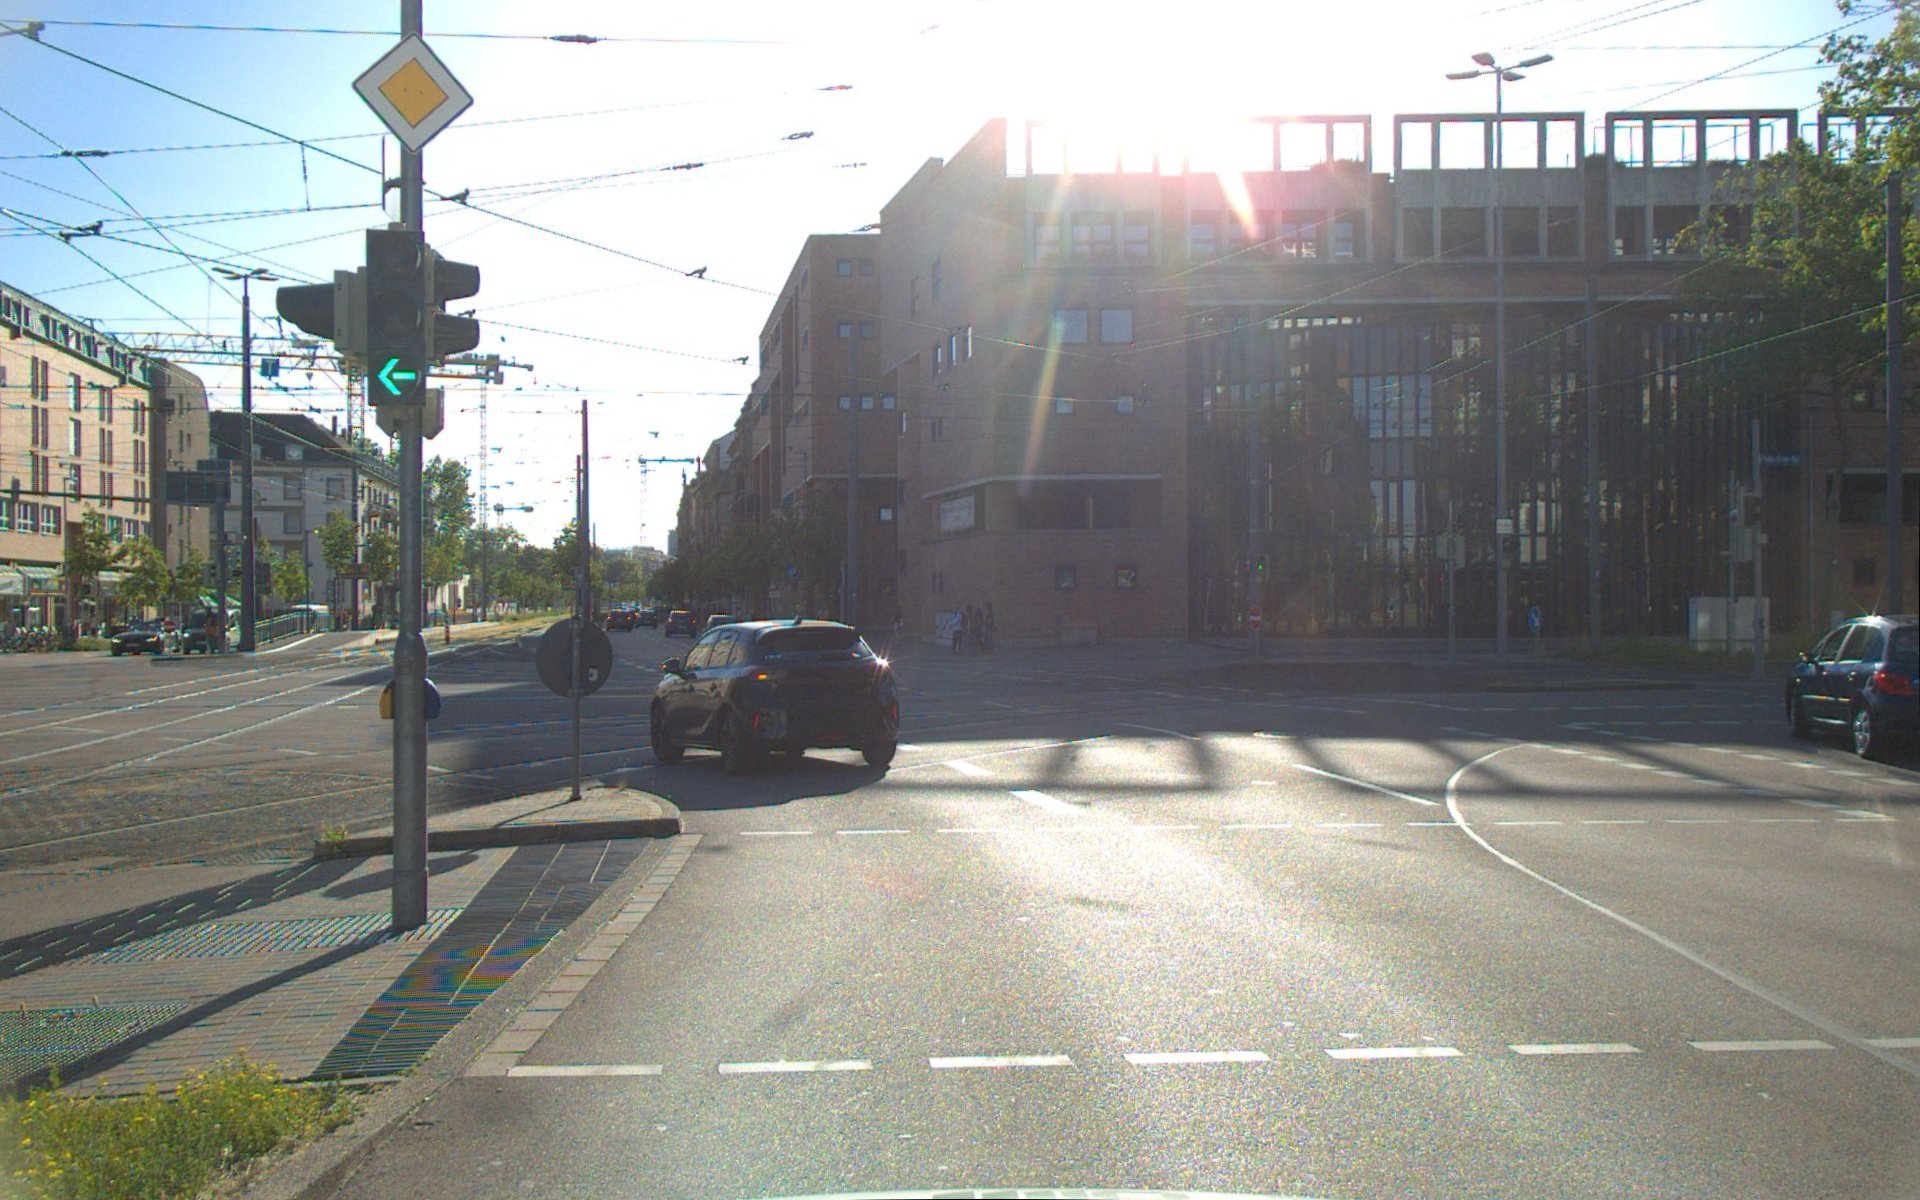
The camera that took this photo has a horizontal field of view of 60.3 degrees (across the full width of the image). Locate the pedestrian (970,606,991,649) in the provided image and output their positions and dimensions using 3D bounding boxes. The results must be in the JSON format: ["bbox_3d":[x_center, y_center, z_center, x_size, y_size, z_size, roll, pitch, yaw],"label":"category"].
[{"bbox_3d":[0.734,0.990,59.886,0.541,1.503,0.568,-1,0,-29],"label":"pedestrian"}]

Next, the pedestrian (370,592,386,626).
[{"bbox_3d":[-33.610,0.525,95.495,0.849,1.919,0.732,0,1,-22],"label":"pedestrian"}]

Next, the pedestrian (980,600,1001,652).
[{"bbox_3d":[1.079,0.919,59.064,0.563,1.817,0.546,-1,0,-19],"label":"pedestrian"}]

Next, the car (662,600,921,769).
[{"bbox_3d":[-1.849,0.790,17.136,1.649,1.528,3.664,1,0,-23],"label":"car"}]

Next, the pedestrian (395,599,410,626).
[{"bbox_3d":[-35.169,0.776,104.353,0.849,1.699,0.779,0,1,-22],"label":"pedestrian"}]

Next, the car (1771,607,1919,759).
[{"bbox_3d":[10.630,0.844,18.512,1.821,1.500,3.981,0,0,11],"label":"car"}]

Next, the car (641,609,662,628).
[{"bbox_3d":[-25.806,1.519,138.331,1.690,1.479,3.687,-1,0,-11],"label":"car"}]

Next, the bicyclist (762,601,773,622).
[{"bbox_3d":[-12.405,0.744,106.619,0.634,1.363,0.651,0,0,-10],"label":"bicyclist"}]

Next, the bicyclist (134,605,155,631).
[{"bbox_3d":[-43.295,0.954,87.846,0.796,1.401,0.922,-1,0,-13],"label":"bicyclist"}]

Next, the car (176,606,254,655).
[{"bbox_3d":[-30.483,1.203,67.788,1.805,1.868,4.099,-2,0,-8],"label":"car"}]

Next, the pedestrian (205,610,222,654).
[{"bbox_3d":[-27.301,1.165,60.488,0.573,1.604,0.642,0,-1,-25],"label":"pedestrian"}]

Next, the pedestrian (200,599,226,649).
[{"bbox_3d":[-26.413,0.855,58.502,0.708,1.757,0.593,-1,0,-11],"label":"pedestrian"}]

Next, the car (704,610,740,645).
[{"bbox_3d":[-10.584,1.197,73.362,1.531,1.481,3.424,0,0,-9],"label":"car"}]

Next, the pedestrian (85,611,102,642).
[{"bbox_3d":[-51.721,1.577,98.716,0.703,1.795,0.564,-1,0,-9],"label":"pedestrian"}]

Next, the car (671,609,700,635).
[{"bbox_3d":[-16.763,1.339,100.807,1.641,1.479,3.687,-1,0,-11],"label":"car"}]

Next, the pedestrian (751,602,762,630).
[{"bbox_3d":[-13.414,1.061,109.149,0.629,1.817,0.687,-1,0,-11],"label":"pedestrian"}]

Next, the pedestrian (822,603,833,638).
[{"bbox_3d":[-6.903,1.055,85.942,0.537,1.817,0.572,0,2,-9],"label":"pedestrian"}]

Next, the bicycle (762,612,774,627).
[{"bbox_3d":[-12.409,1.270,106.637,0.636,0.920,2.340,0,0,-10],"label":"bicycle"}]

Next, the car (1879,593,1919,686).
[{"bbox_3d":[16.969,0.631,26.645,3.949,1.465,1.689,0,-1,-22],"label":"car"}]

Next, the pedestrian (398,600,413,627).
[{"bbox_3d":[-34.768,0.839,103.676,0.849,1.699,0.732,0,1,-22],"label":"pedestrian"}]

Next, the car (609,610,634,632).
[{"bbox_3d":[-24.191,1.476,118.232,1.690,1.479,3.687,-1,0,-11],"label":"car"}]

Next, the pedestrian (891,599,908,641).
[{"bbox_3d":[-2.628,0.871,72.084,0.628,1.817,0.687,-1,0,-9],"label":"pedestrian"}]

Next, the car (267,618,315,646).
[{"bbox_3d":[-38.765,1.821,95.929,1.807,1.473,4.284,-2,0,-13],"label":"car"}]

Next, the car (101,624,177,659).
[{"bbox_3d":[-33.719,1.674,68.037,1.807,1.290,4.215,-2,0,-13],"label":"car"}]

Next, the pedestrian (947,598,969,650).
[{"bbox_3d":[-0.072,0.849,58.279,0.563,1.817,0.546,-1,0,-19],"label":"pedestrian"}]

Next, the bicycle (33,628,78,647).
[{"bbox_3d":[-45.744,1.900,83.624,1.992,0.937,0.483,-1,0,-1],"label":"bicycle"}]

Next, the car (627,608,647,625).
[{"bbox_3d":[-29.165,1.507,149.407,1.690,1.479,3.687,-1,0,-11],"label":"car"}]

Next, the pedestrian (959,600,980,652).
[{"bbox_3d":[0.321,0.901,57.706,0.563,1.817,0.546,-1,0,-19],"label":"pedestrian"}]

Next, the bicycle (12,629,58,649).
[{"bbox_3d":[-46.089,1.926,82.428,1.992,0.937,0.483,-1,0,-1],"label":"bicycle"}]
